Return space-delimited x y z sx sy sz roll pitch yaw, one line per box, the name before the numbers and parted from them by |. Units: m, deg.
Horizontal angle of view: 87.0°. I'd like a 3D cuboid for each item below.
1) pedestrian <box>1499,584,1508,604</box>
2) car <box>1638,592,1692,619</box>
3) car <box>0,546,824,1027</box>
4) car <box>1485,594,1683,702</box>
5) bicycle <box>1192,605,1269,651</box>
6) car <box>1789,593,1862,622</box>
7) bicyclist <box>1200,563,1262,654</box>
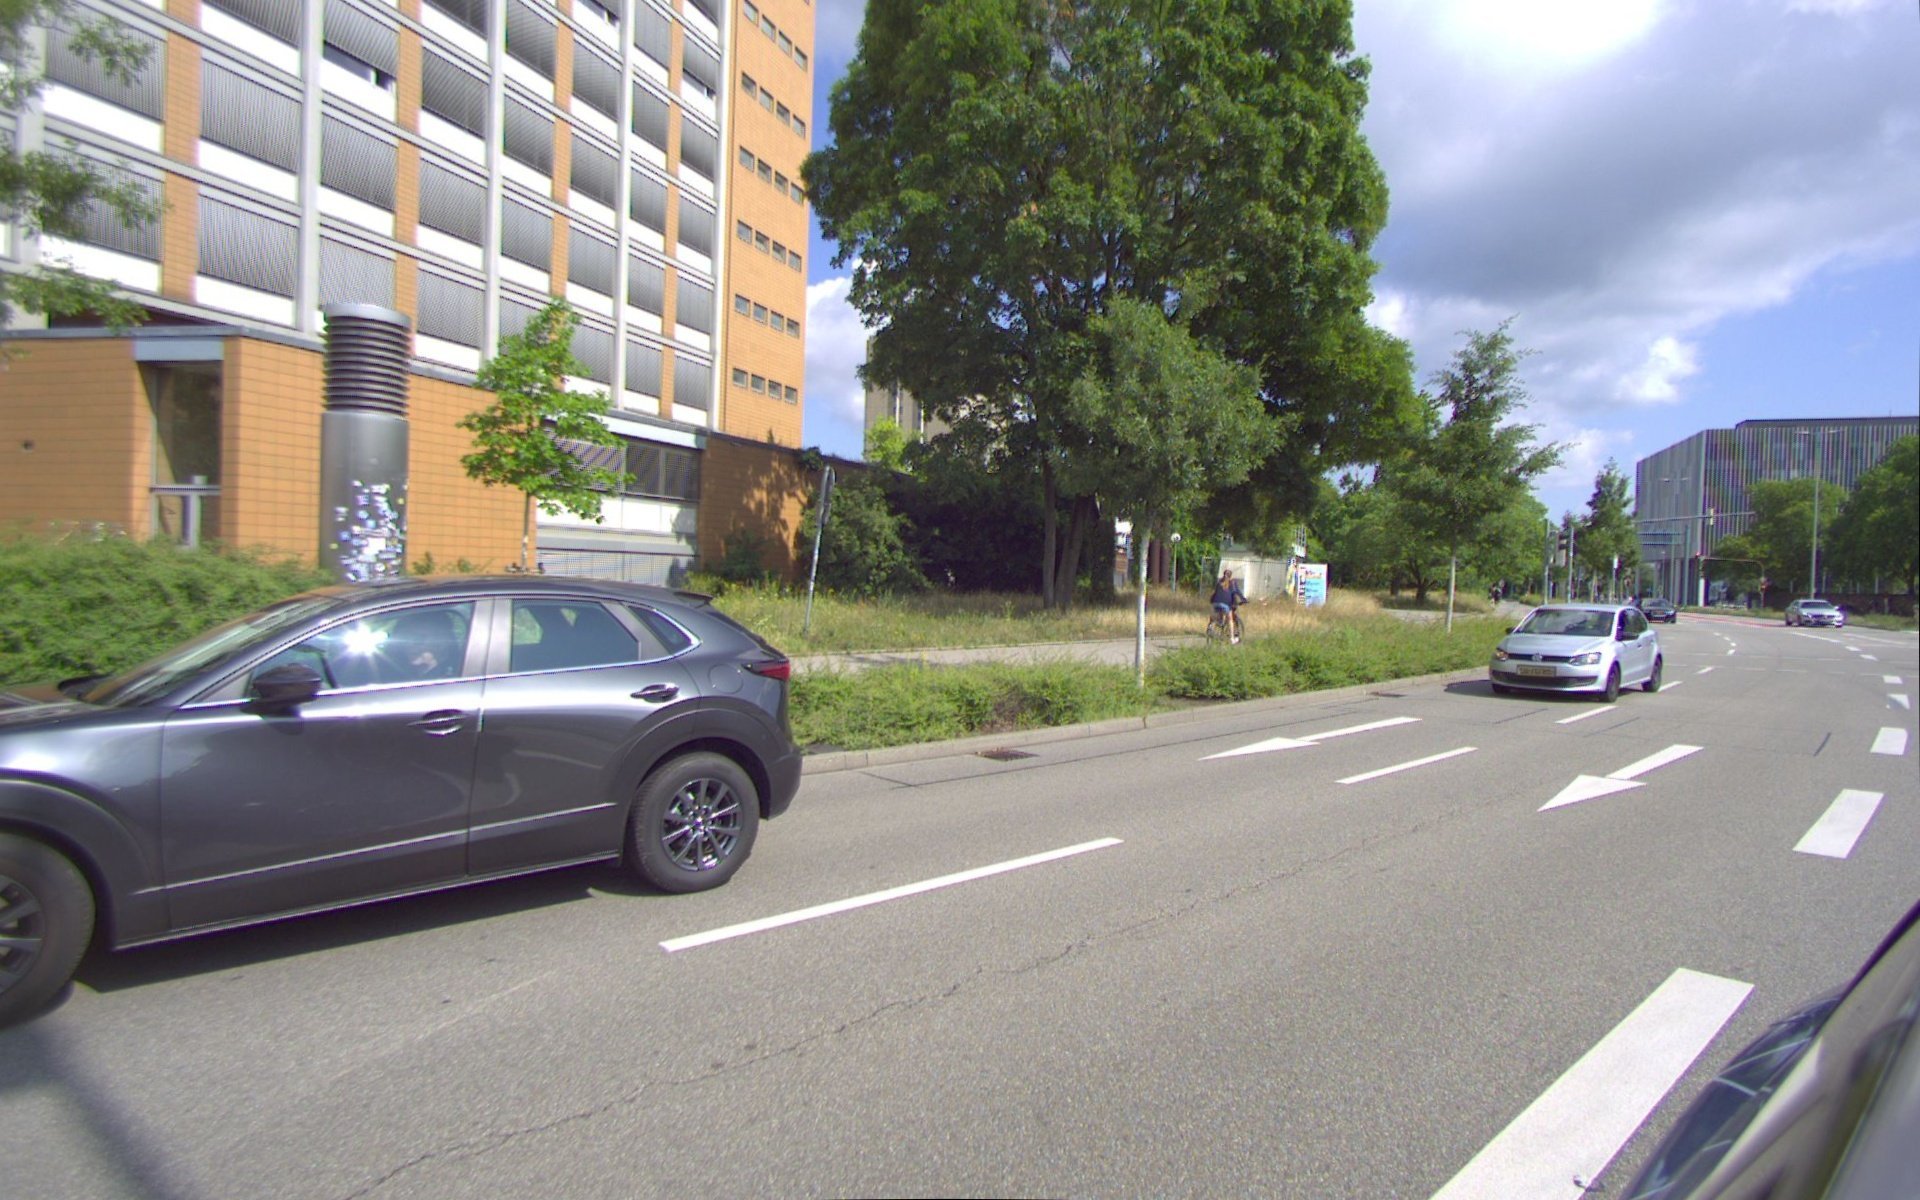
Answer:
pedestrian | 45.343 -0.477 84.426 0.535 1.628 0.520 2 -1 21
car | 40.419 0.284 58.093 1.982 1.394 4.119 3 2 28
car | -2.849 0.590 4.605 4.132 1.527 1.809 0 0 -41
car | 9.996 0.680 16.090 3.937 1.460 1.653 1 1 -43
bicycle | 5.416 0.542 20.218 1.758 0.820 0.626 0 3 -43
car | 46.611 0.370 54.605 2.043 1.460 4.733 0 1 28
bicyclist | 5.403 0.154 20.174 0.949 1.723 0.737 0 3 -42
